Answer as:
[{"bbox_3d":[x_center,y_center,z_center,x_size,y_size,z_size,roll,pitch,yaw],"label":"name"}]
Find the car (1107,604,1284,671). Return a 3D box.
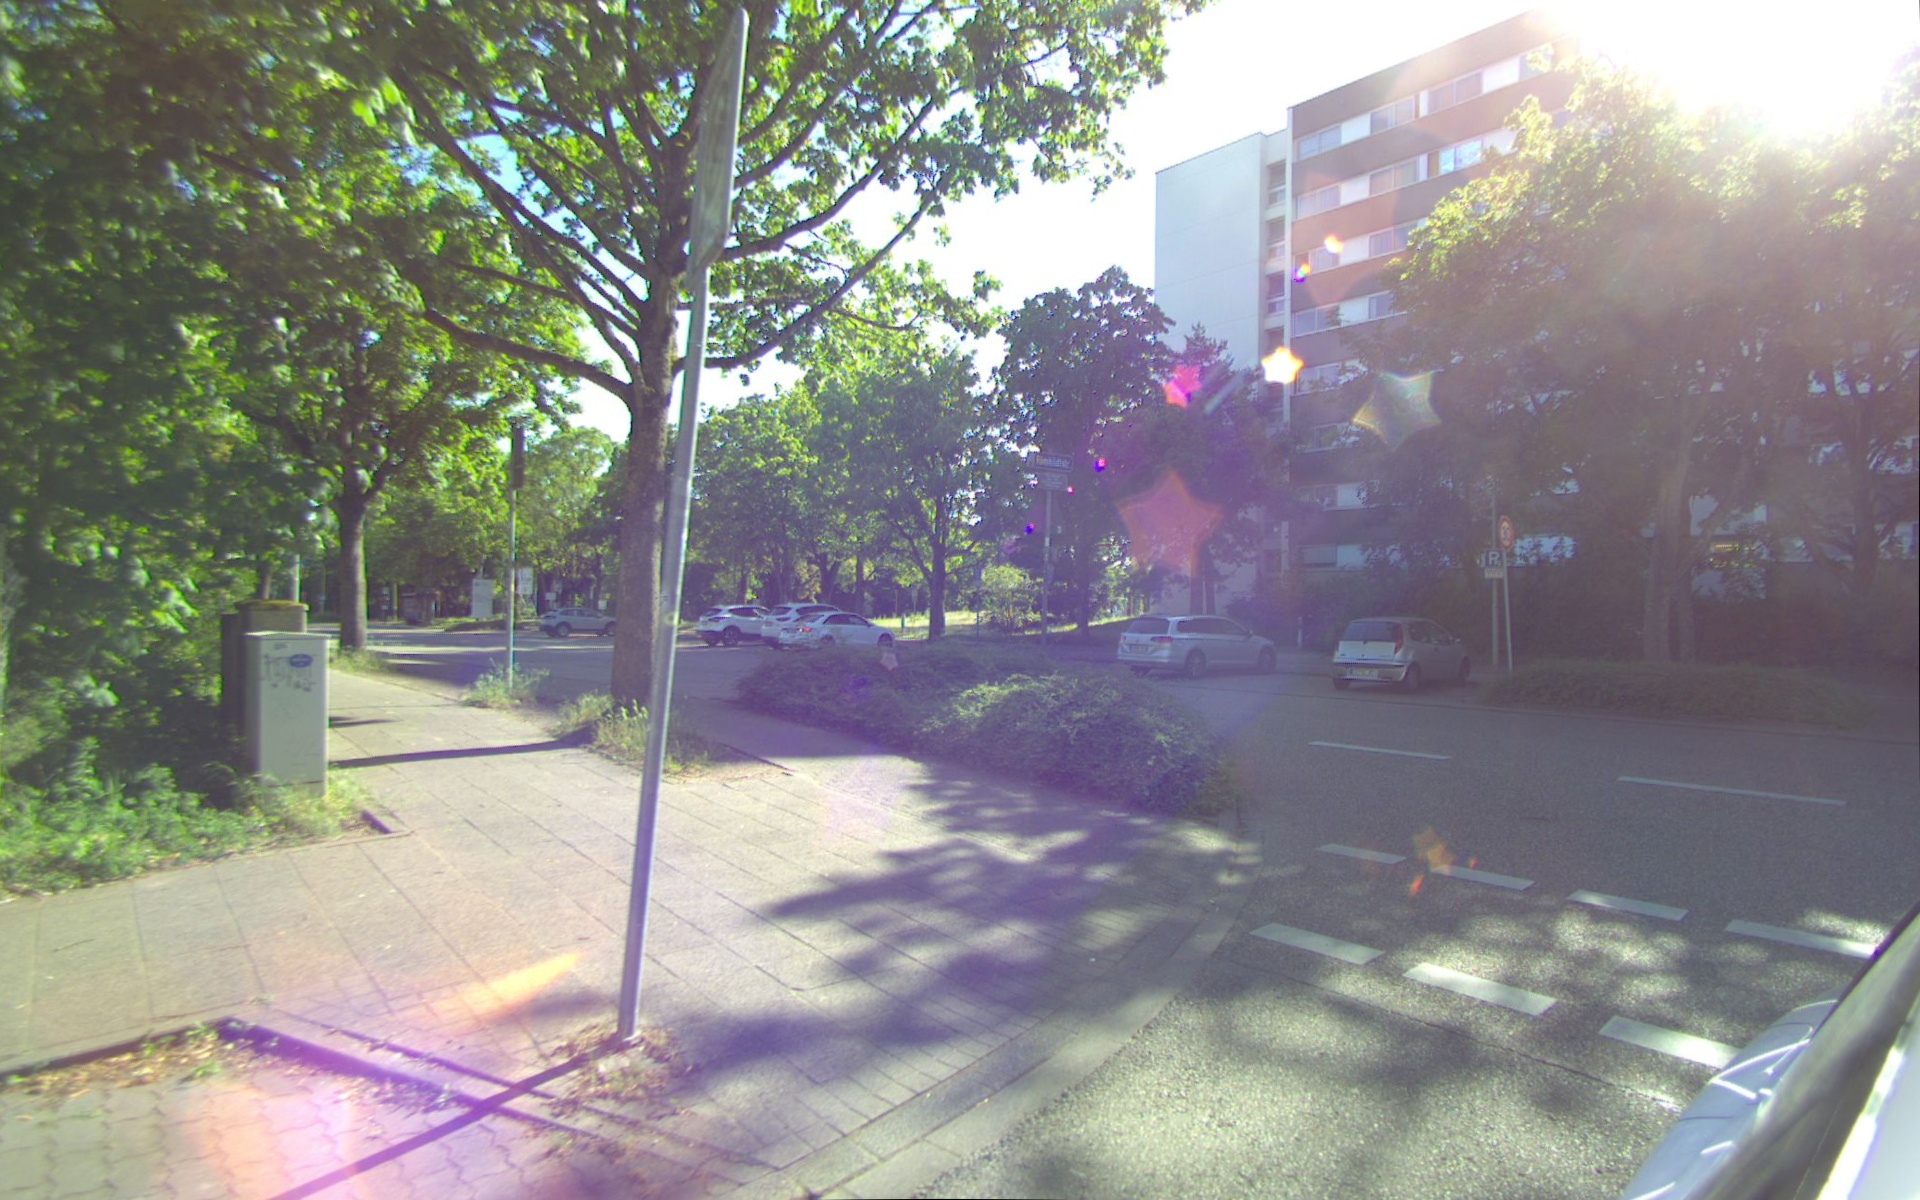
[{"bbox_3d":[5.638,0.887,24.007,4.208,1.446,1.826,2,-2,-37],"label":"car"}]

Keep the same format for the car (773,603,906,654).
[{"bbox_3d":[-3.988,0.908,33.989,4.285,1.508,1.734,-1,1,-44],"label":"car"}]

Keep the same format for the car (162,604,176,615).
[{"bbox_3d":[-156.655,1.902,200.420,1.962,2.040,3.998,3,-2,-36],"label":"car"}]

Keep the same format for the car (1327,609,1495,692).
[{"bbox_3d":[9.335,0.957,20.828,3.931,1.469,1.714,0,0,-42],"label":"car"}]

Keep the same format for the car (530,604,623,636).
[{"bbox_3d":[-19.841,1.002,52.443,4.107,1.446,1.996,-2,1,-42],"label":"car"}]

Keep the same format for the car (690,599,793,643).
[{"bbox_3d":[-8.559,0.786,39.787,3.640,1.541,1.646,-1,1,-44],"label":"car"}]

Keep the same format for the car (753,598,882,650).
[{"bbox_3d":[-5.101,0.802,36.620,4.376,1.668,1.812,-2,1,-44],"label":"car"}]
